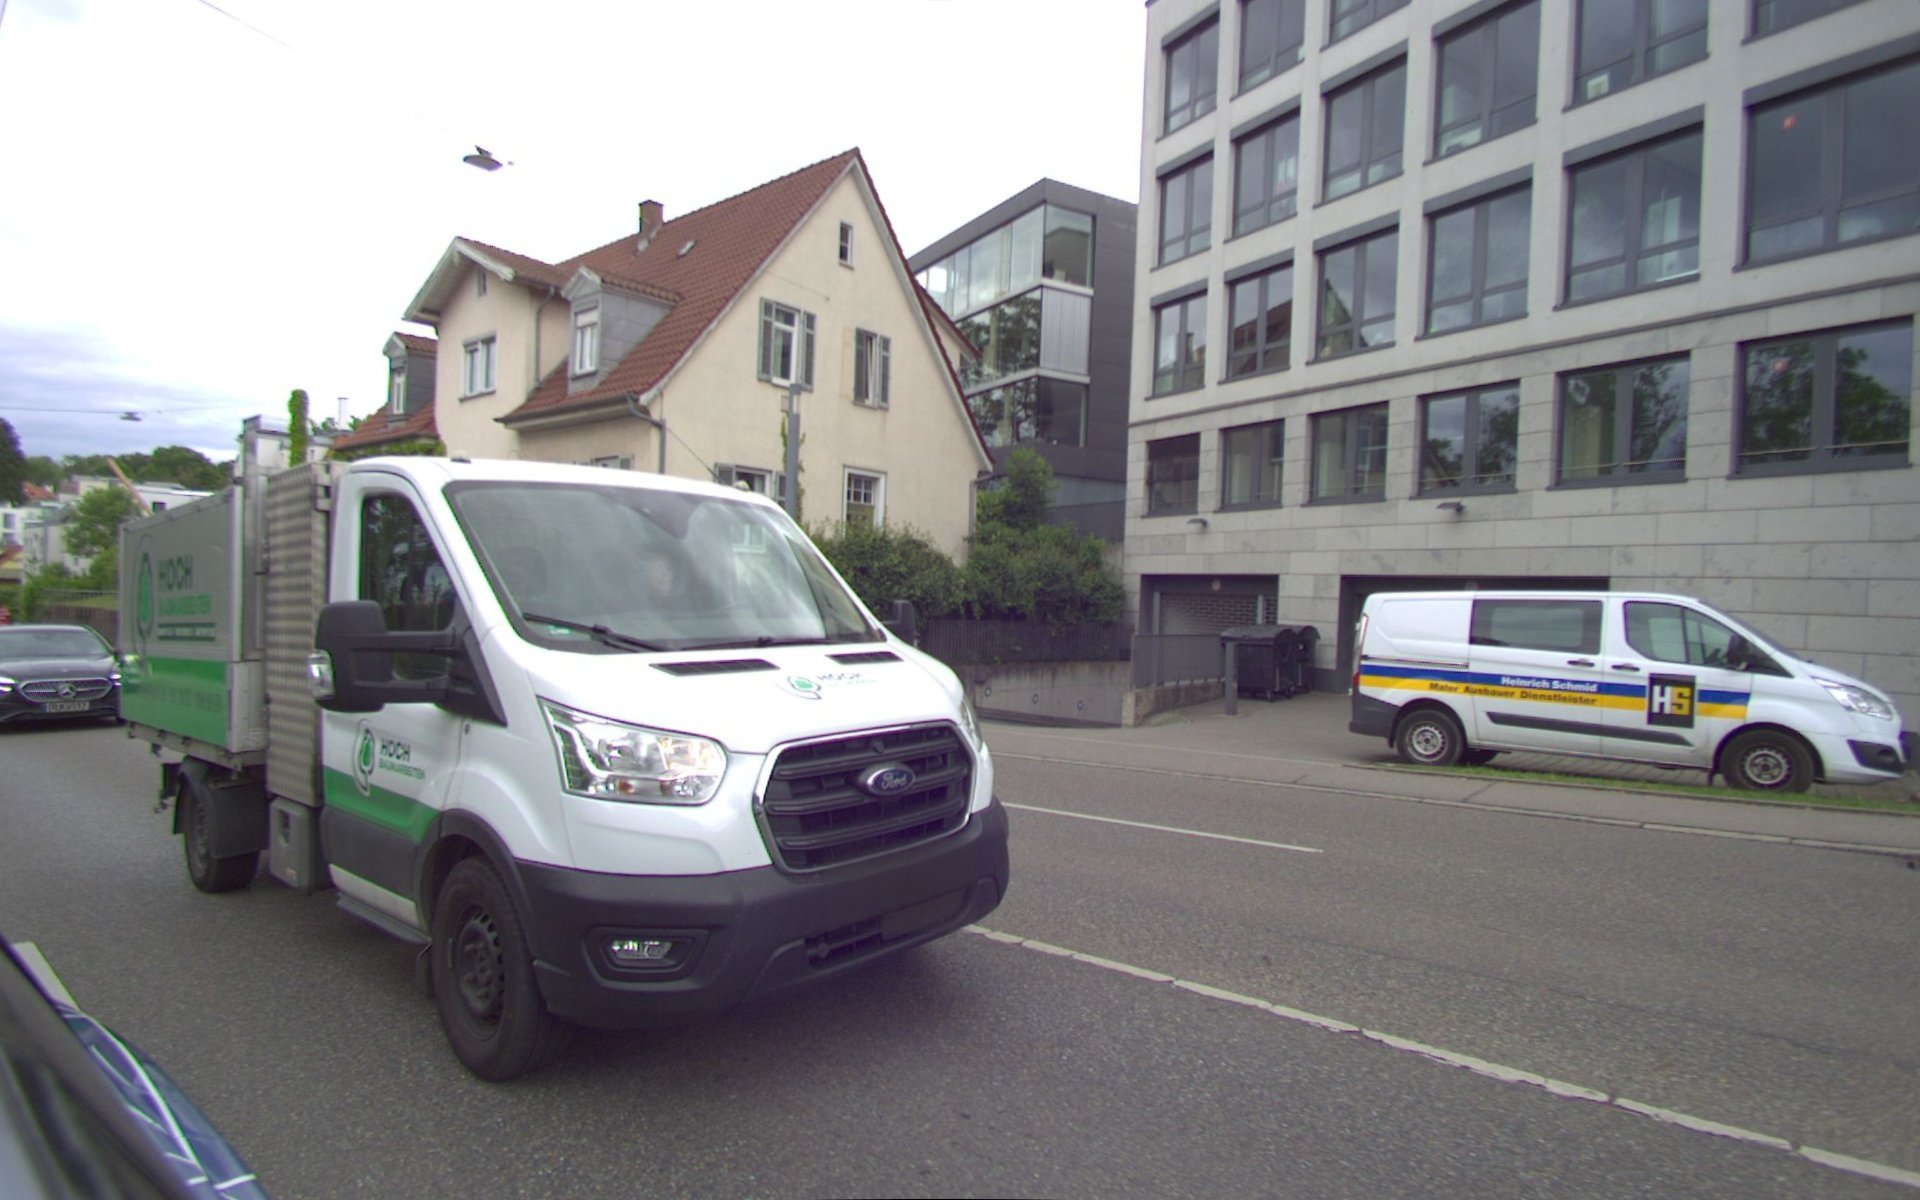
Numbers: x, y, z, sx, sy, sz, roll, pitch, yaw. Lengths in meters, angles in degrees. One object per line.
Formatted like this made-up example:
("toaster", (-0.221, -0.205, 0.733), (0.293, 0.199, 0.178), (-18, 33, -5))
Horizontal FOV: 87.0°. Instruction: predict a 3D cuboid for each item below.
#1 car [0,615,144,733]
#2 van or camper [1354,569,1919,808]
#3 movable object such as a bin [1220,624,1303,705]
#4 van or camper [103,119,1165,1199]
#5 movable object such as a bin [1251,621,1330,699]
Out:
("car", (-13.822, 1.024, 15.100), (4.333, 1.541, 1.854), (-2, -2, 41))
("van or camper", (6.971, 0.829, 10.680), (4.871, 1.983, 2.038), (-1, -4, 42))
("movable object such as a bin", (6.096, 1.268, 20.469), (1.287, 1.508, 1.074), (-1, 1, 37))
("van or camper", (-2.187, 0.207, 5.121), (5.960, 2.682, 2.319), (1, 1, 40))
("movable object such as a bin", (6.971, 1.236, 21.341), (1.287, 1.508, 1.074), (-1, 1, 37))
